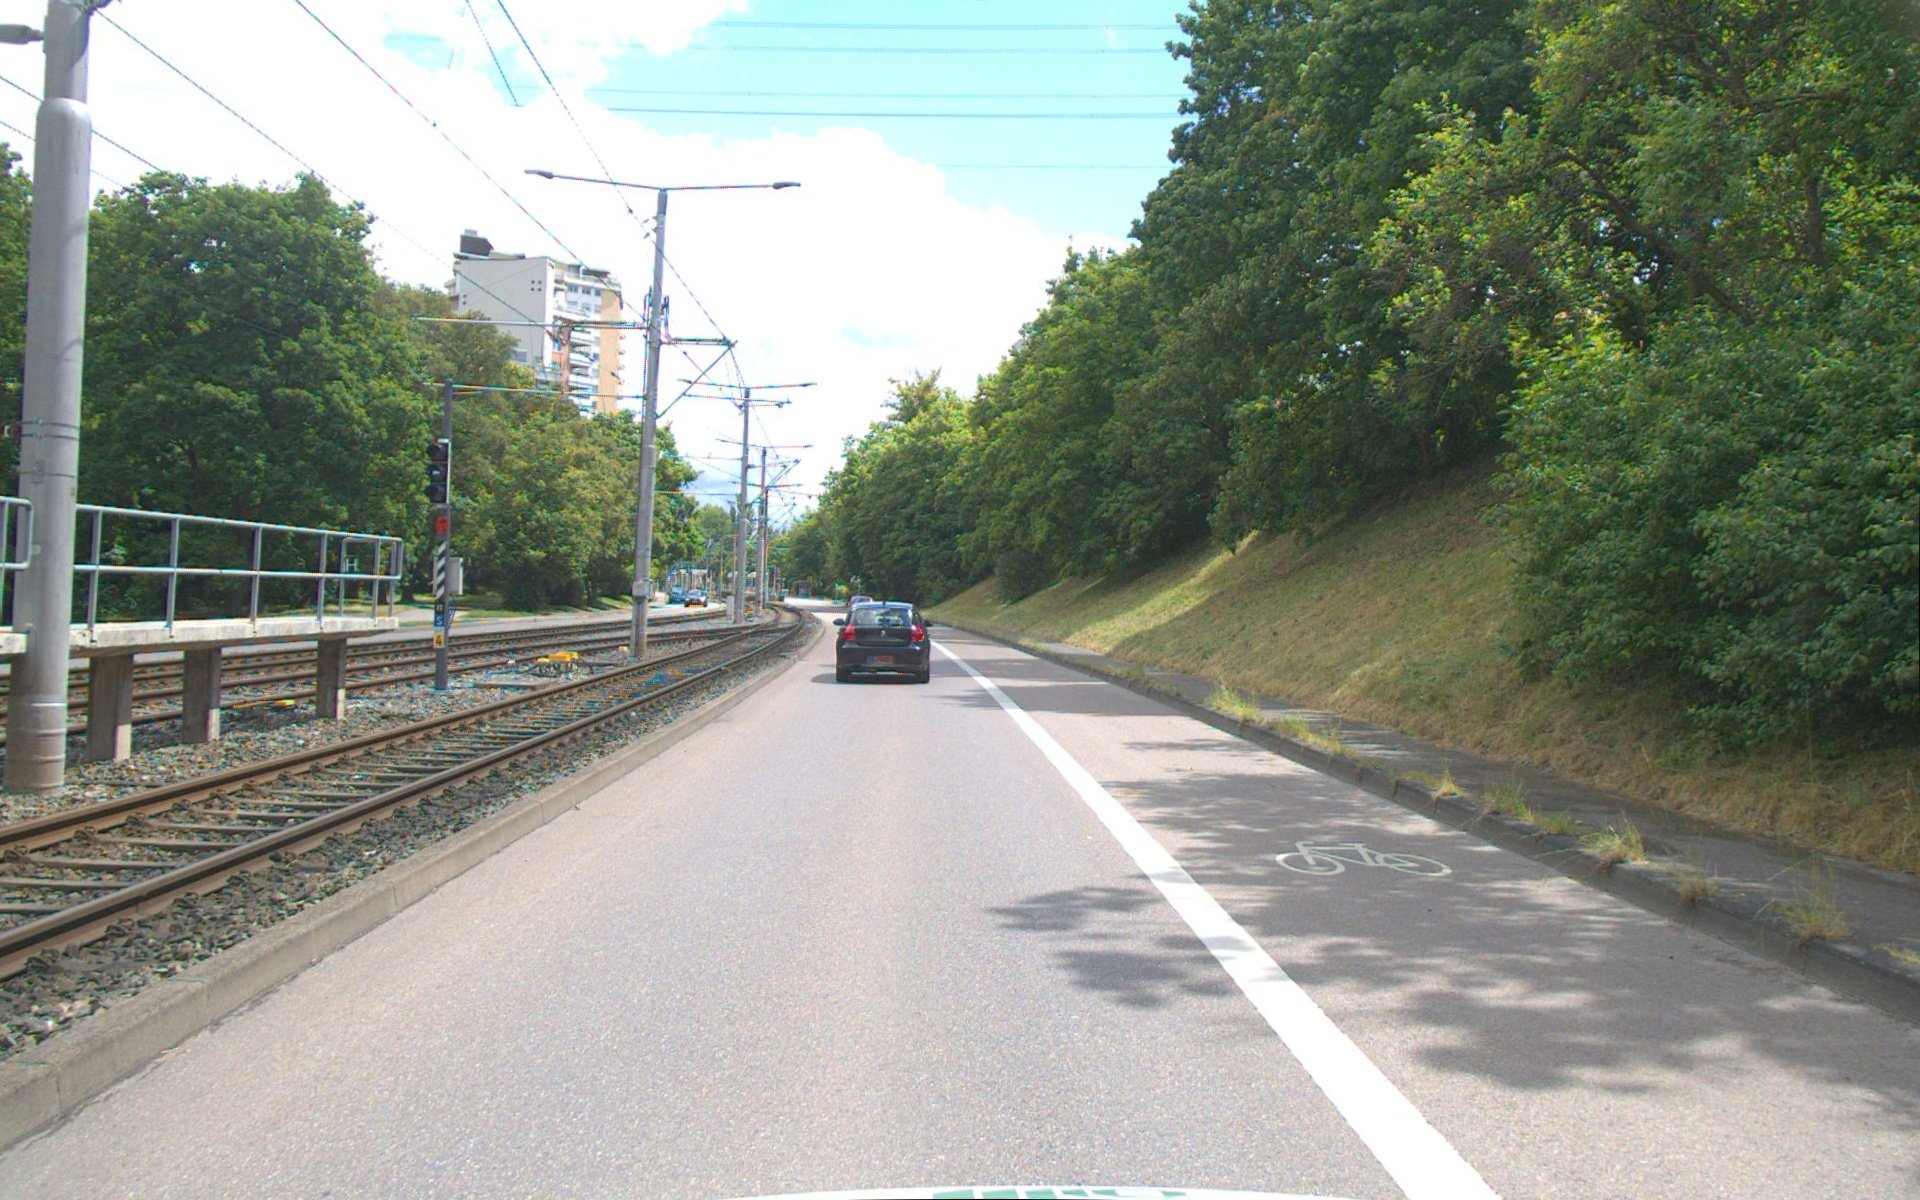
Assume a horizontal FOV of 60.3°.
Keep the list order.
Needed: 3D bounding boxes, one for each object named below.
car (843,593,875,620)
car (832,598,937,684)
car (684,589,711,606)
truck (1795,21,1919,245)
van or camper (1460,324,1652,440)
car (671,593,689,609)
[{"bbox_3d":[-5.934,0.367,97.003,1.746,1.485,3.917,1,0,-5],"label":"car"},{"bbox_3d":[-1.459,0.711,30.556,1.747,1.485,3.916,0,0,-5],"label":"car"},{"bbox_3d":[-22.715,-0.239,143.412,1.799,1.415,4.858,-1,0,-3],"label":"car"},{"bbox_3d":[16.144,-7.670,25.735,2.304,2.705,7.033,1,0,-4],"label":"truck"},{"bbox_3d":[15.006,-5.438,42.110,2.173,2.106,6.155,1,0,-5],"label":"van or camper"},{"bbox_3d":[-28.269,0.115,166.990,1.742,1.525,3.988,1,0,-9],"label":"car"}]
